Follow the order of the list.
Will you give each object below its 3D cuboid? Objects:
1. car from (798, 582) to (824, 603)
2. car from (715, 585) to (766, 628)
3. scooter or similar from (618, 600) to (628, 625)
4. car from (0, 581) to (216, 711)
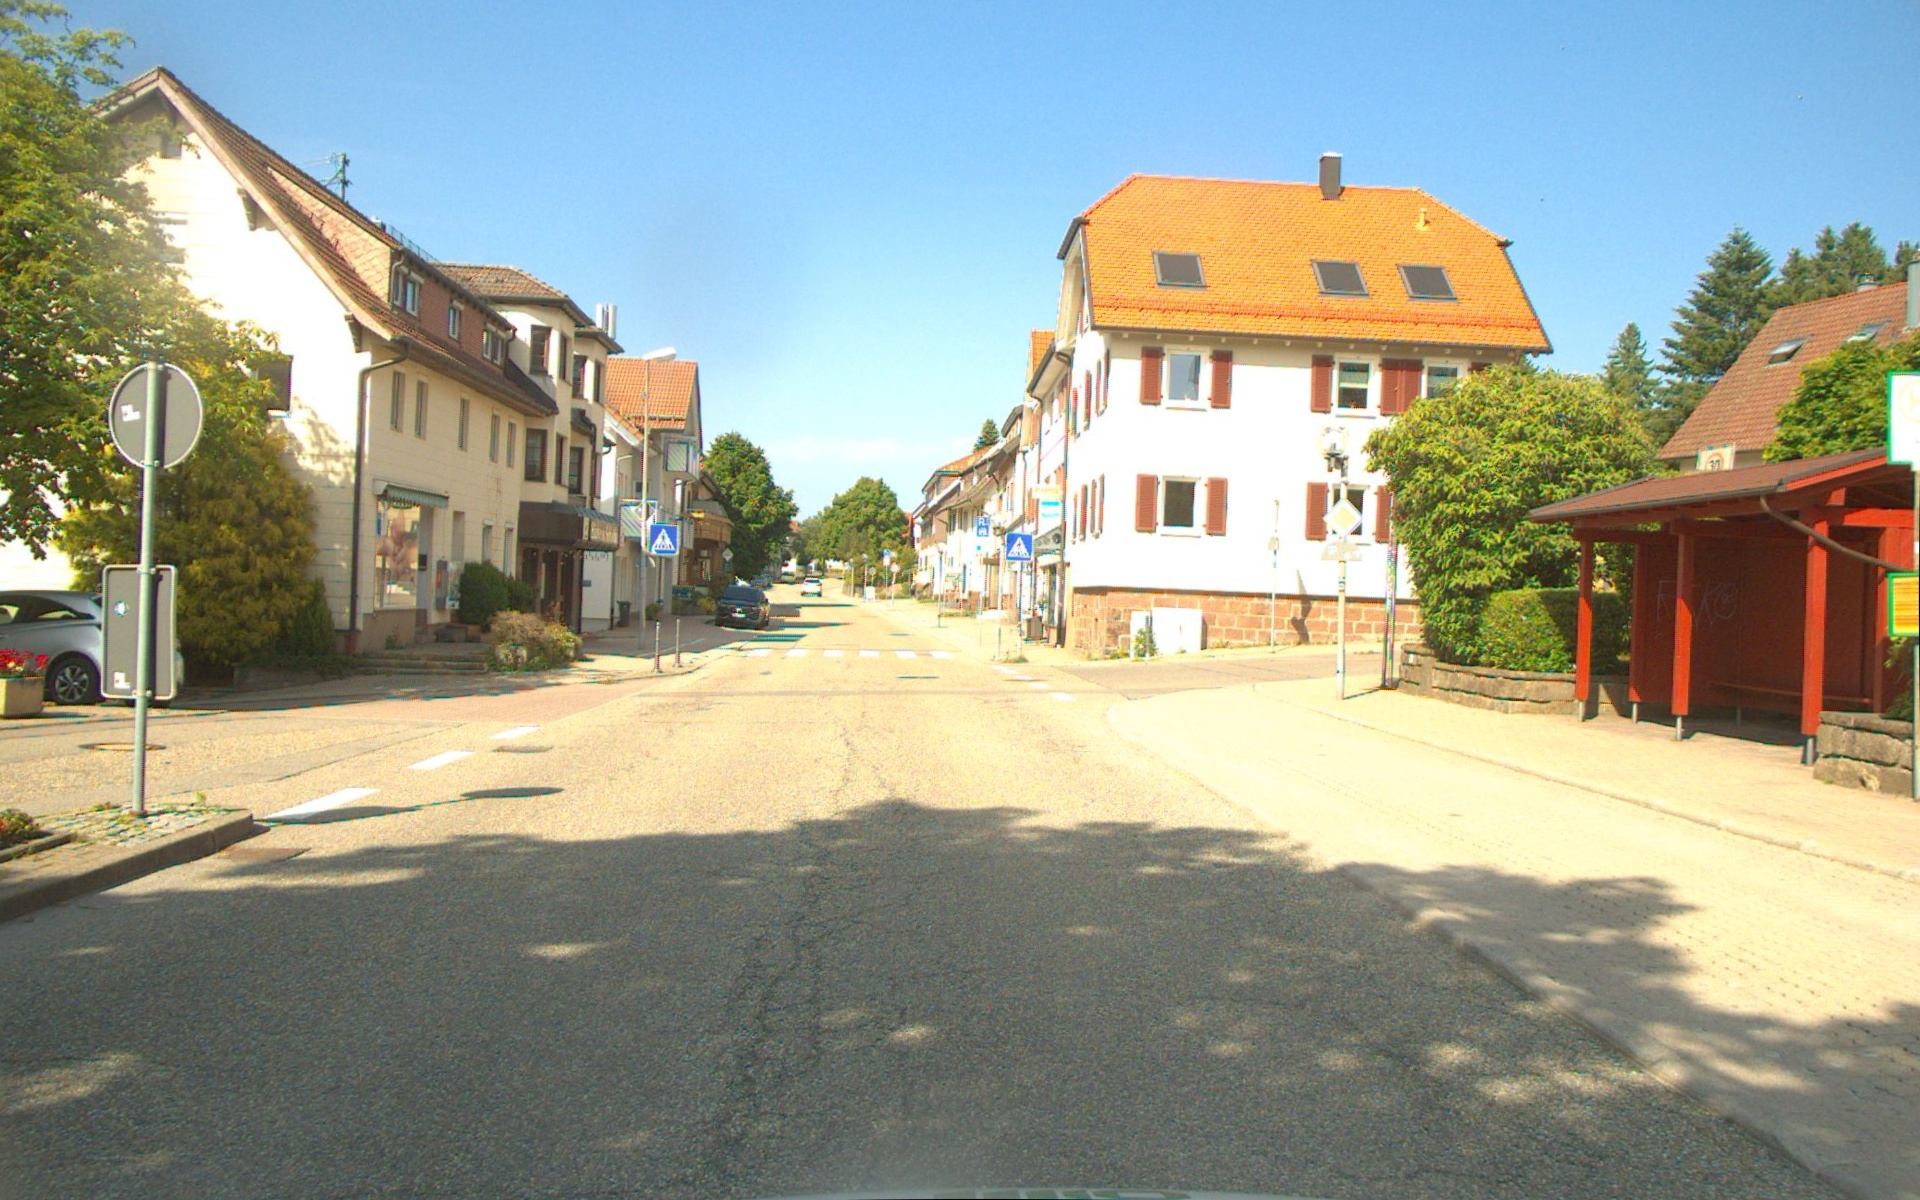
[{"bbox_3d":[-14.495,-0.731,160.950,2.447,2.049,4.300,-1,0,-5],"label":"car"},{"bbox_3d":[-8.814,0.248,66.621,1.640,1.559,3.533,5,0,-3],"label":"car"},{"bbox_3d":[-12.397,0.469,60.837,0.345,0.905,0.394,-1,0,-9],"label":"scooter or similar"},{"bbox_3d":[-11.590,0.624,20.736,3.679,1.480,1.818,-1,-5,9],"label":"car"}]
